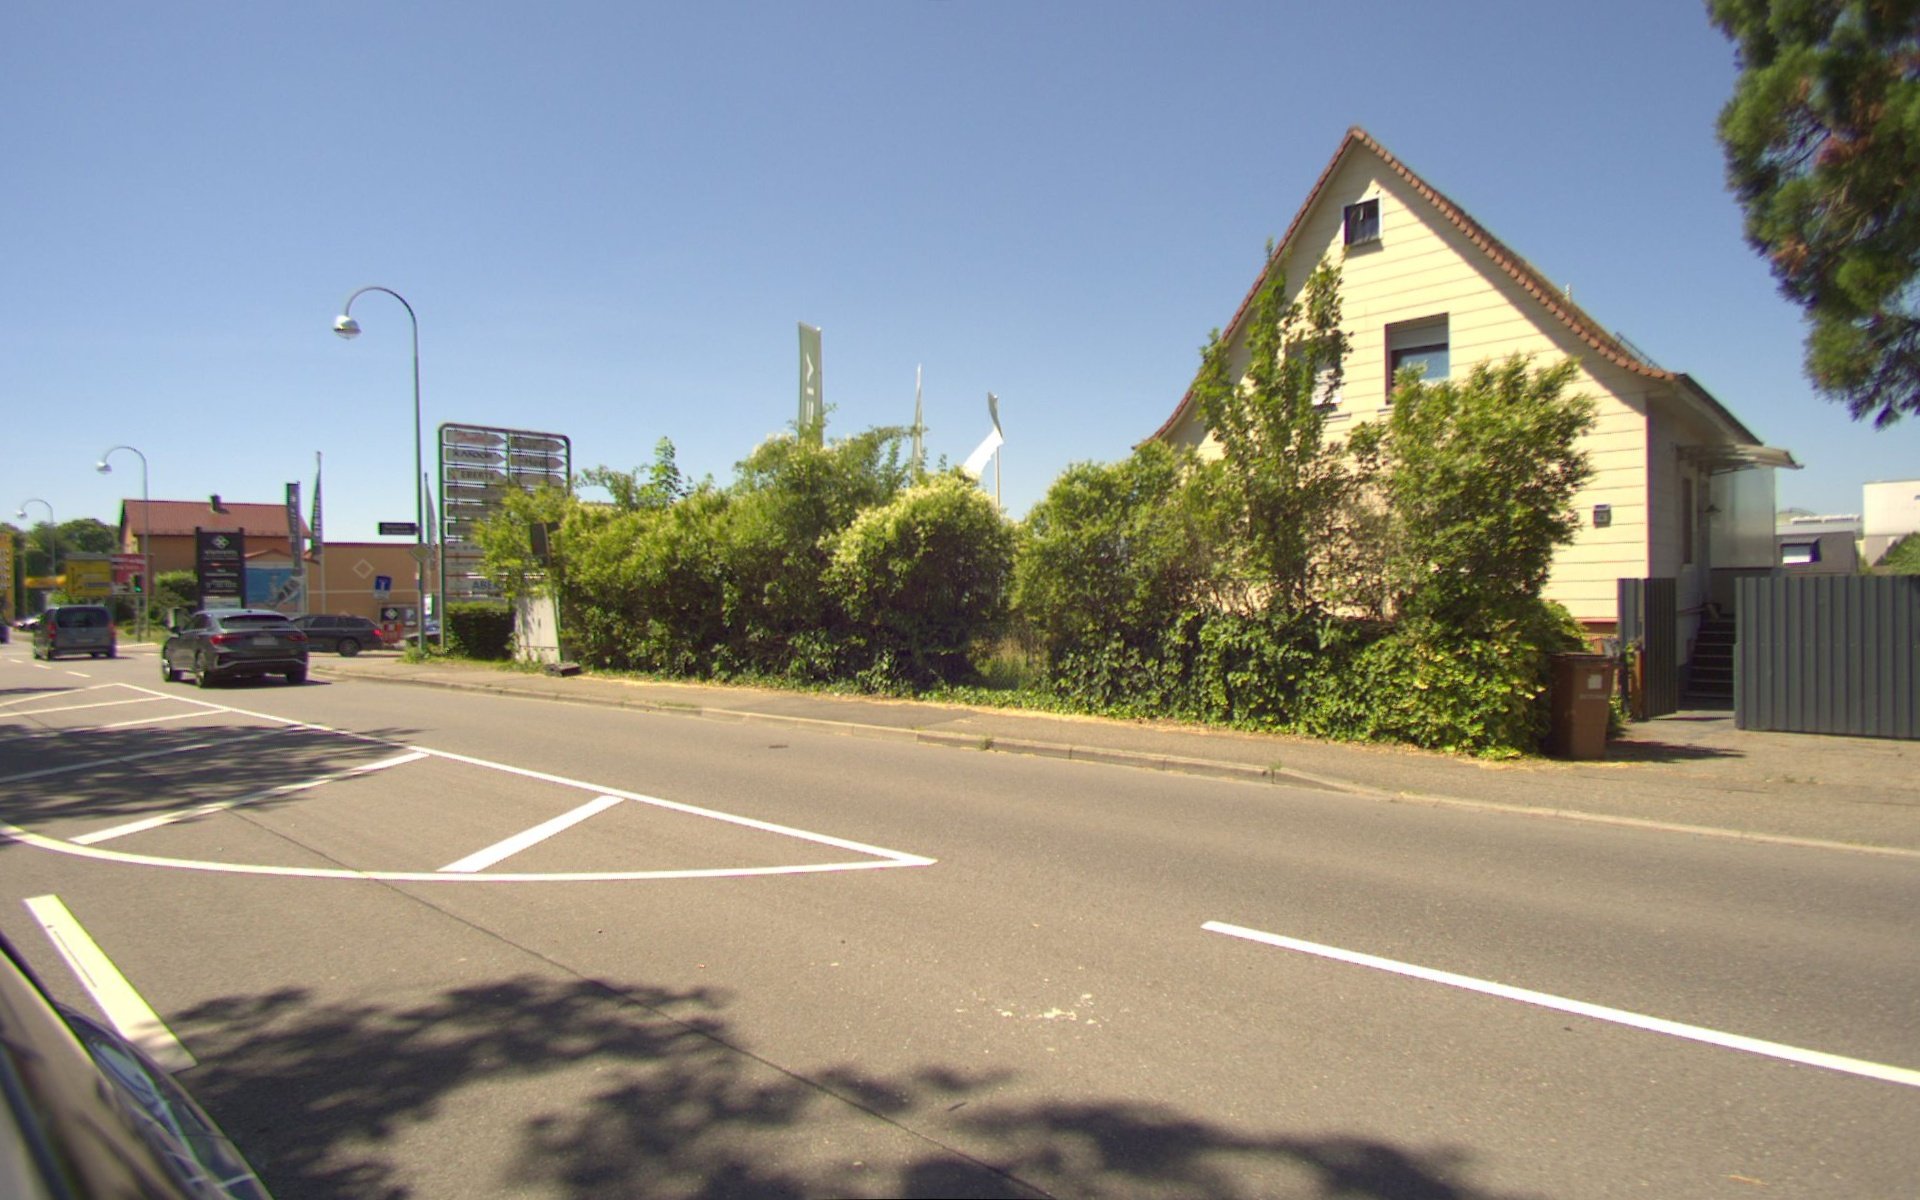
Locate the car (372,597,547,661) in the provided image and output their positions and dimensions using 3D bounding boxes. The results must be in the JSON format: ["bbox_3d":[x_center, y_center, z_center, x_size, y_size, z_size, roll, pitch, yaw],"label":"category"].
[{"bbox_3d":[-19.092,1.042,38.776,5.627,2.145,2.178,-2,1,-40],"label":"car"}]

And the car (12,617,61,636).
[{"bbox_3d":[-76.726,2.207,84.124,1.965,1.431,4.013,-2,1,-26],"label":"car"}]

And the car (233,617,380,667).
[{"bbox_3d":[-23.007,1.443,35.804,4.247,1.561,1.891,-1,0,-31],"label":"car"}]

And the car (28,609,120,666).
[{"bbox_3d":[-29.393,1.198,33.527,4.320,1.754,1.859,-1,0,43],"label":"car"}]

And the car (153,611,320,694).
[{"bbox_3d":[-15.404,1.044,21.465,4.317,1.561,1.860,-1,0,40],"label":"car"}]
